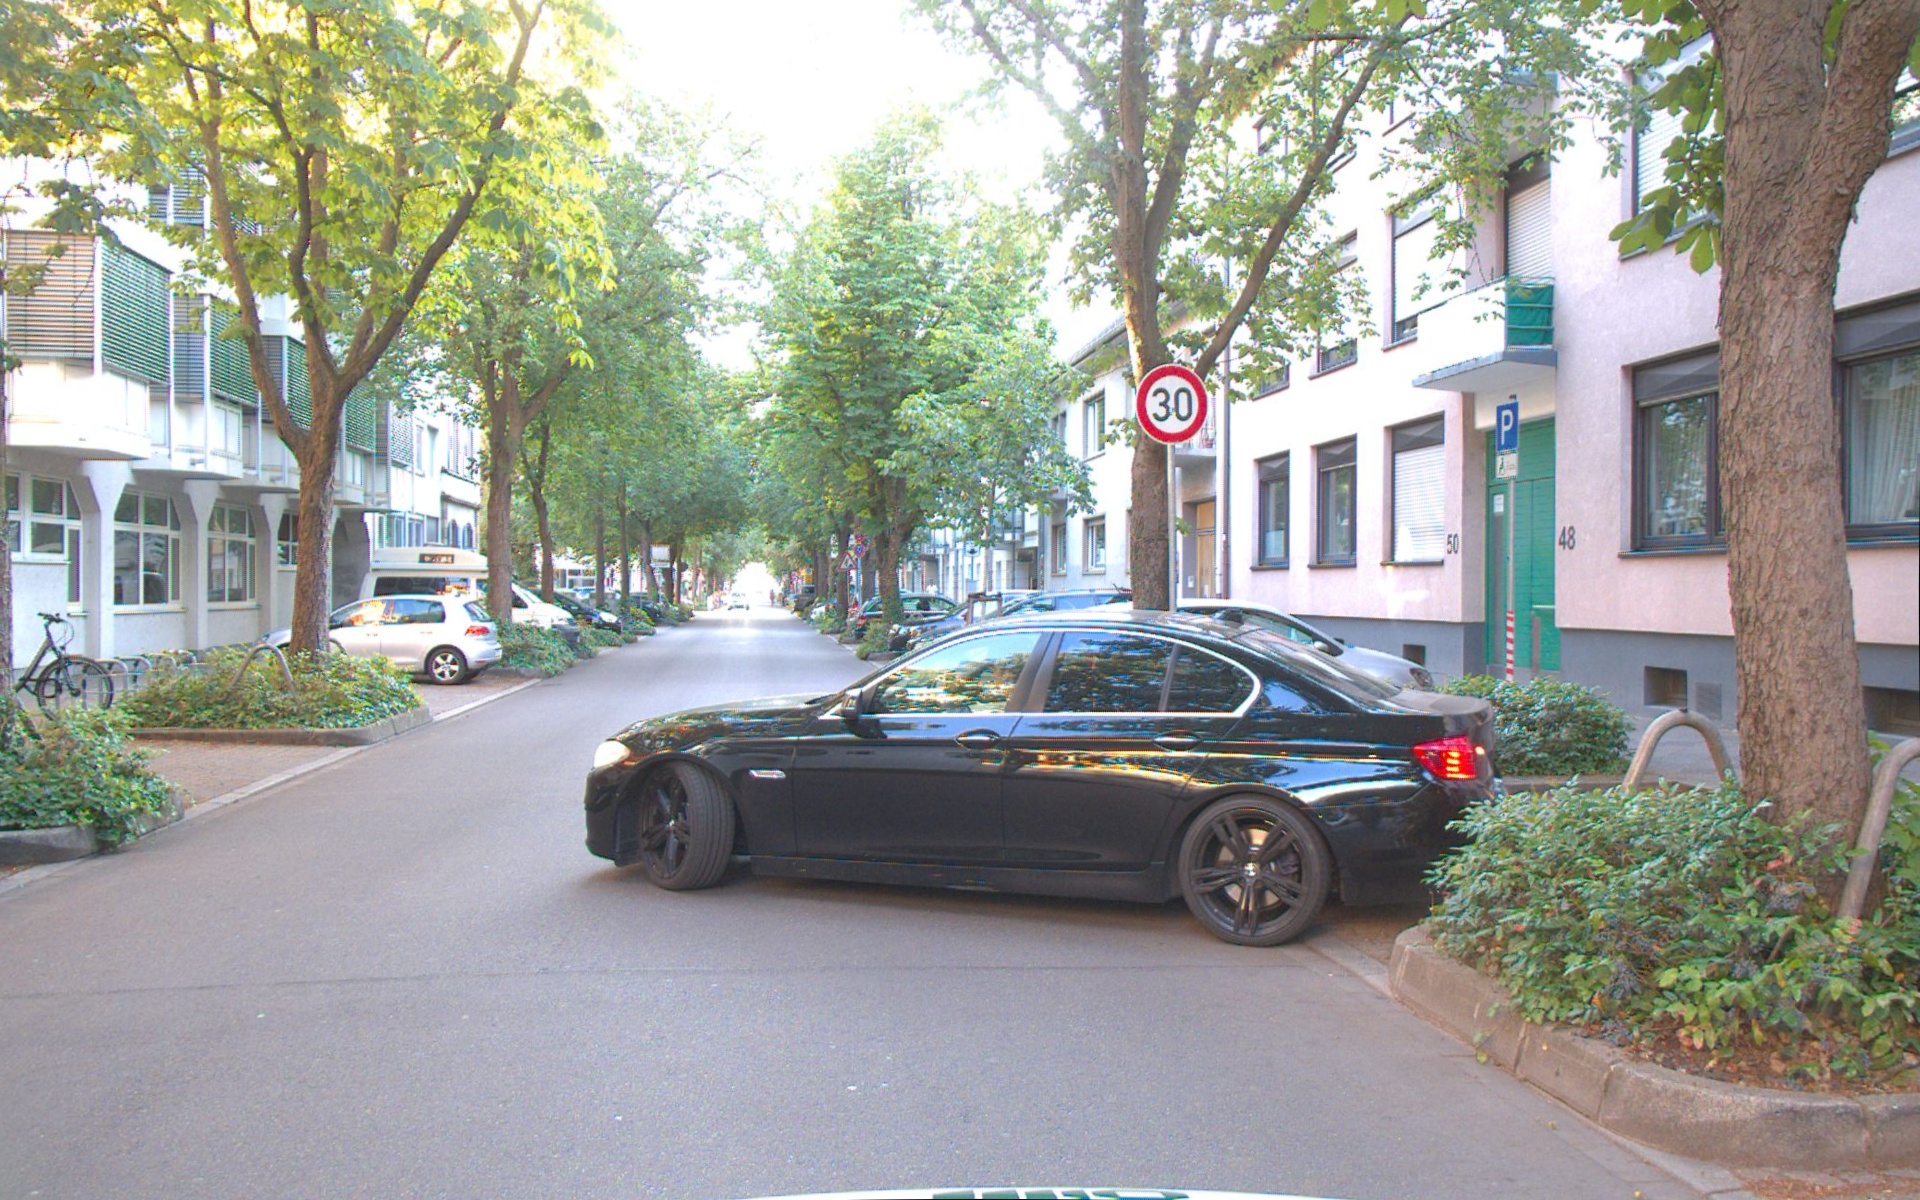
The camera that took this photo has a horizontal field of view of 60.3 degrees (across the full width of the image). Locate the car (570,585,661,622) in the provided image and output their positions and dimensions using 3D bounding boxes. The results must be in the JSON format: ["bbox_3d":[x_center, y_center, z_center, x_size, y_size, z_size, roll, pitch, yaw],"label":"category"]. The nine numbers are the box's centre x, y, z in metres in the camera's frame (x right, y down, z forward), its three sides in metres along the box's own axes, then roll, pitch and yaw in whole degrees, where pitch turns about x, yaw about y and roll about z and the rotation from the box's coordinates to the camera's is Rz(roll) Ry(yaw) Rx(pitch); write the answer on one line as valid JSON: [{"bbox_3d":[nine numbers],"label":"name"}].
[{"bbox_3d":[-15.788,0.160,75.921,3.891,1.647,1.783,0,0,-6],"label":"car"}]

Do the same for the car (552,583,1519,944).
[{"bbox_3d":[0.415,0.674,8.499,4.646,1.506,1.801,0,0,19],"label":"car"}]

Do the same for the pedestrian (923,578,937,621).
[{"bbox_3d":[-1.414,-0.023,78.191,0.577,2.049,0.669,0,0,-6],"label":"pedestrian"}]

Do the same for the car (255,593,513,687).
[{"bbox_3d":[-9.867,0.667,28.578,3.892,1.544,1.783,0,0,-6],"label":"car"}]

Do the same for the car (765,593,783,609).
[{"bbox_3d":[-18.804,0.090,167.145,1.787,1.557,3.995,-1,0,-6],"label":"car"}]

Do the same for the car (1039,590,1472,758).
[{"bbox_3d":[2.808,0.662,16.107,3.836,1.502,1.661,0,0,-9],"label":"car"}]

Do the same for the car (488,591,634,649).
[{"bbox_3d":[-11.496,0.559,47.858,3.892,1.647,1.783,0,0,-6],"label":"car"}]

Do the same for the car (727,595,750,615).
[{"bbox_3d":[-18.231,0.410,136.039,1.745,1.589,4.162,0,0,-6],"label":"car"}]

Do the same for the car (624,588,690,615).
[{"bbox_3d":[-18.767,0.100,102.507,3.891,1.647,1.783,0,0,-6],"label":"car"}]

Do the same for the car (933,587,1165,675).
[{"bbox_3d":[1.556,0.533,29.705,3.894,1.502,1.781,0,0,-9],"label":"car"}]

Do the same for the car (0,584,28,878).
[{"bbox_3d":[-7.108,0.702,7.867,4.272,1.544,1.782,0,0,-7],"label":"car"}]

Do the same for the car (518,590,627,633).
[{"bbox_3d":[-15.016,0.435,64.271,3.891,1.647,1.783,0,0,-6],"label":"car"}]

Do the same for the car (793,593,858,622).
[{"bbox_3d":[-8.171,0.461,100.643,3.891,1.713,1.783,0,0,-6],"label":"car"}]

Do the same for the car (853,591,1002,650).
[{"bbox_3d":[-0.913,0.531,44.937,3.893,1.554,1.782,0,0,-8],"label":"car"}]

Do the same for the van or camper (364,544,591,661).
[{"bbox_3d":[-10.677,0.050,36.880,4.575,2.521,1.997,0,0,-7],"label":"van or camper"}]

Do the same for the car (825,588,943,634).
[{"bbox_3d":[-2.633,0.359,56.777,3.894,1.554,1.782,0,0,-9],"label":"car"}]

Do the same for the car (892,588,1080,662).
[{"bbox_3d":[0.539,0.523,36.148,3.893,1.554,1.782,0,0,-8],"label":"car"}]
